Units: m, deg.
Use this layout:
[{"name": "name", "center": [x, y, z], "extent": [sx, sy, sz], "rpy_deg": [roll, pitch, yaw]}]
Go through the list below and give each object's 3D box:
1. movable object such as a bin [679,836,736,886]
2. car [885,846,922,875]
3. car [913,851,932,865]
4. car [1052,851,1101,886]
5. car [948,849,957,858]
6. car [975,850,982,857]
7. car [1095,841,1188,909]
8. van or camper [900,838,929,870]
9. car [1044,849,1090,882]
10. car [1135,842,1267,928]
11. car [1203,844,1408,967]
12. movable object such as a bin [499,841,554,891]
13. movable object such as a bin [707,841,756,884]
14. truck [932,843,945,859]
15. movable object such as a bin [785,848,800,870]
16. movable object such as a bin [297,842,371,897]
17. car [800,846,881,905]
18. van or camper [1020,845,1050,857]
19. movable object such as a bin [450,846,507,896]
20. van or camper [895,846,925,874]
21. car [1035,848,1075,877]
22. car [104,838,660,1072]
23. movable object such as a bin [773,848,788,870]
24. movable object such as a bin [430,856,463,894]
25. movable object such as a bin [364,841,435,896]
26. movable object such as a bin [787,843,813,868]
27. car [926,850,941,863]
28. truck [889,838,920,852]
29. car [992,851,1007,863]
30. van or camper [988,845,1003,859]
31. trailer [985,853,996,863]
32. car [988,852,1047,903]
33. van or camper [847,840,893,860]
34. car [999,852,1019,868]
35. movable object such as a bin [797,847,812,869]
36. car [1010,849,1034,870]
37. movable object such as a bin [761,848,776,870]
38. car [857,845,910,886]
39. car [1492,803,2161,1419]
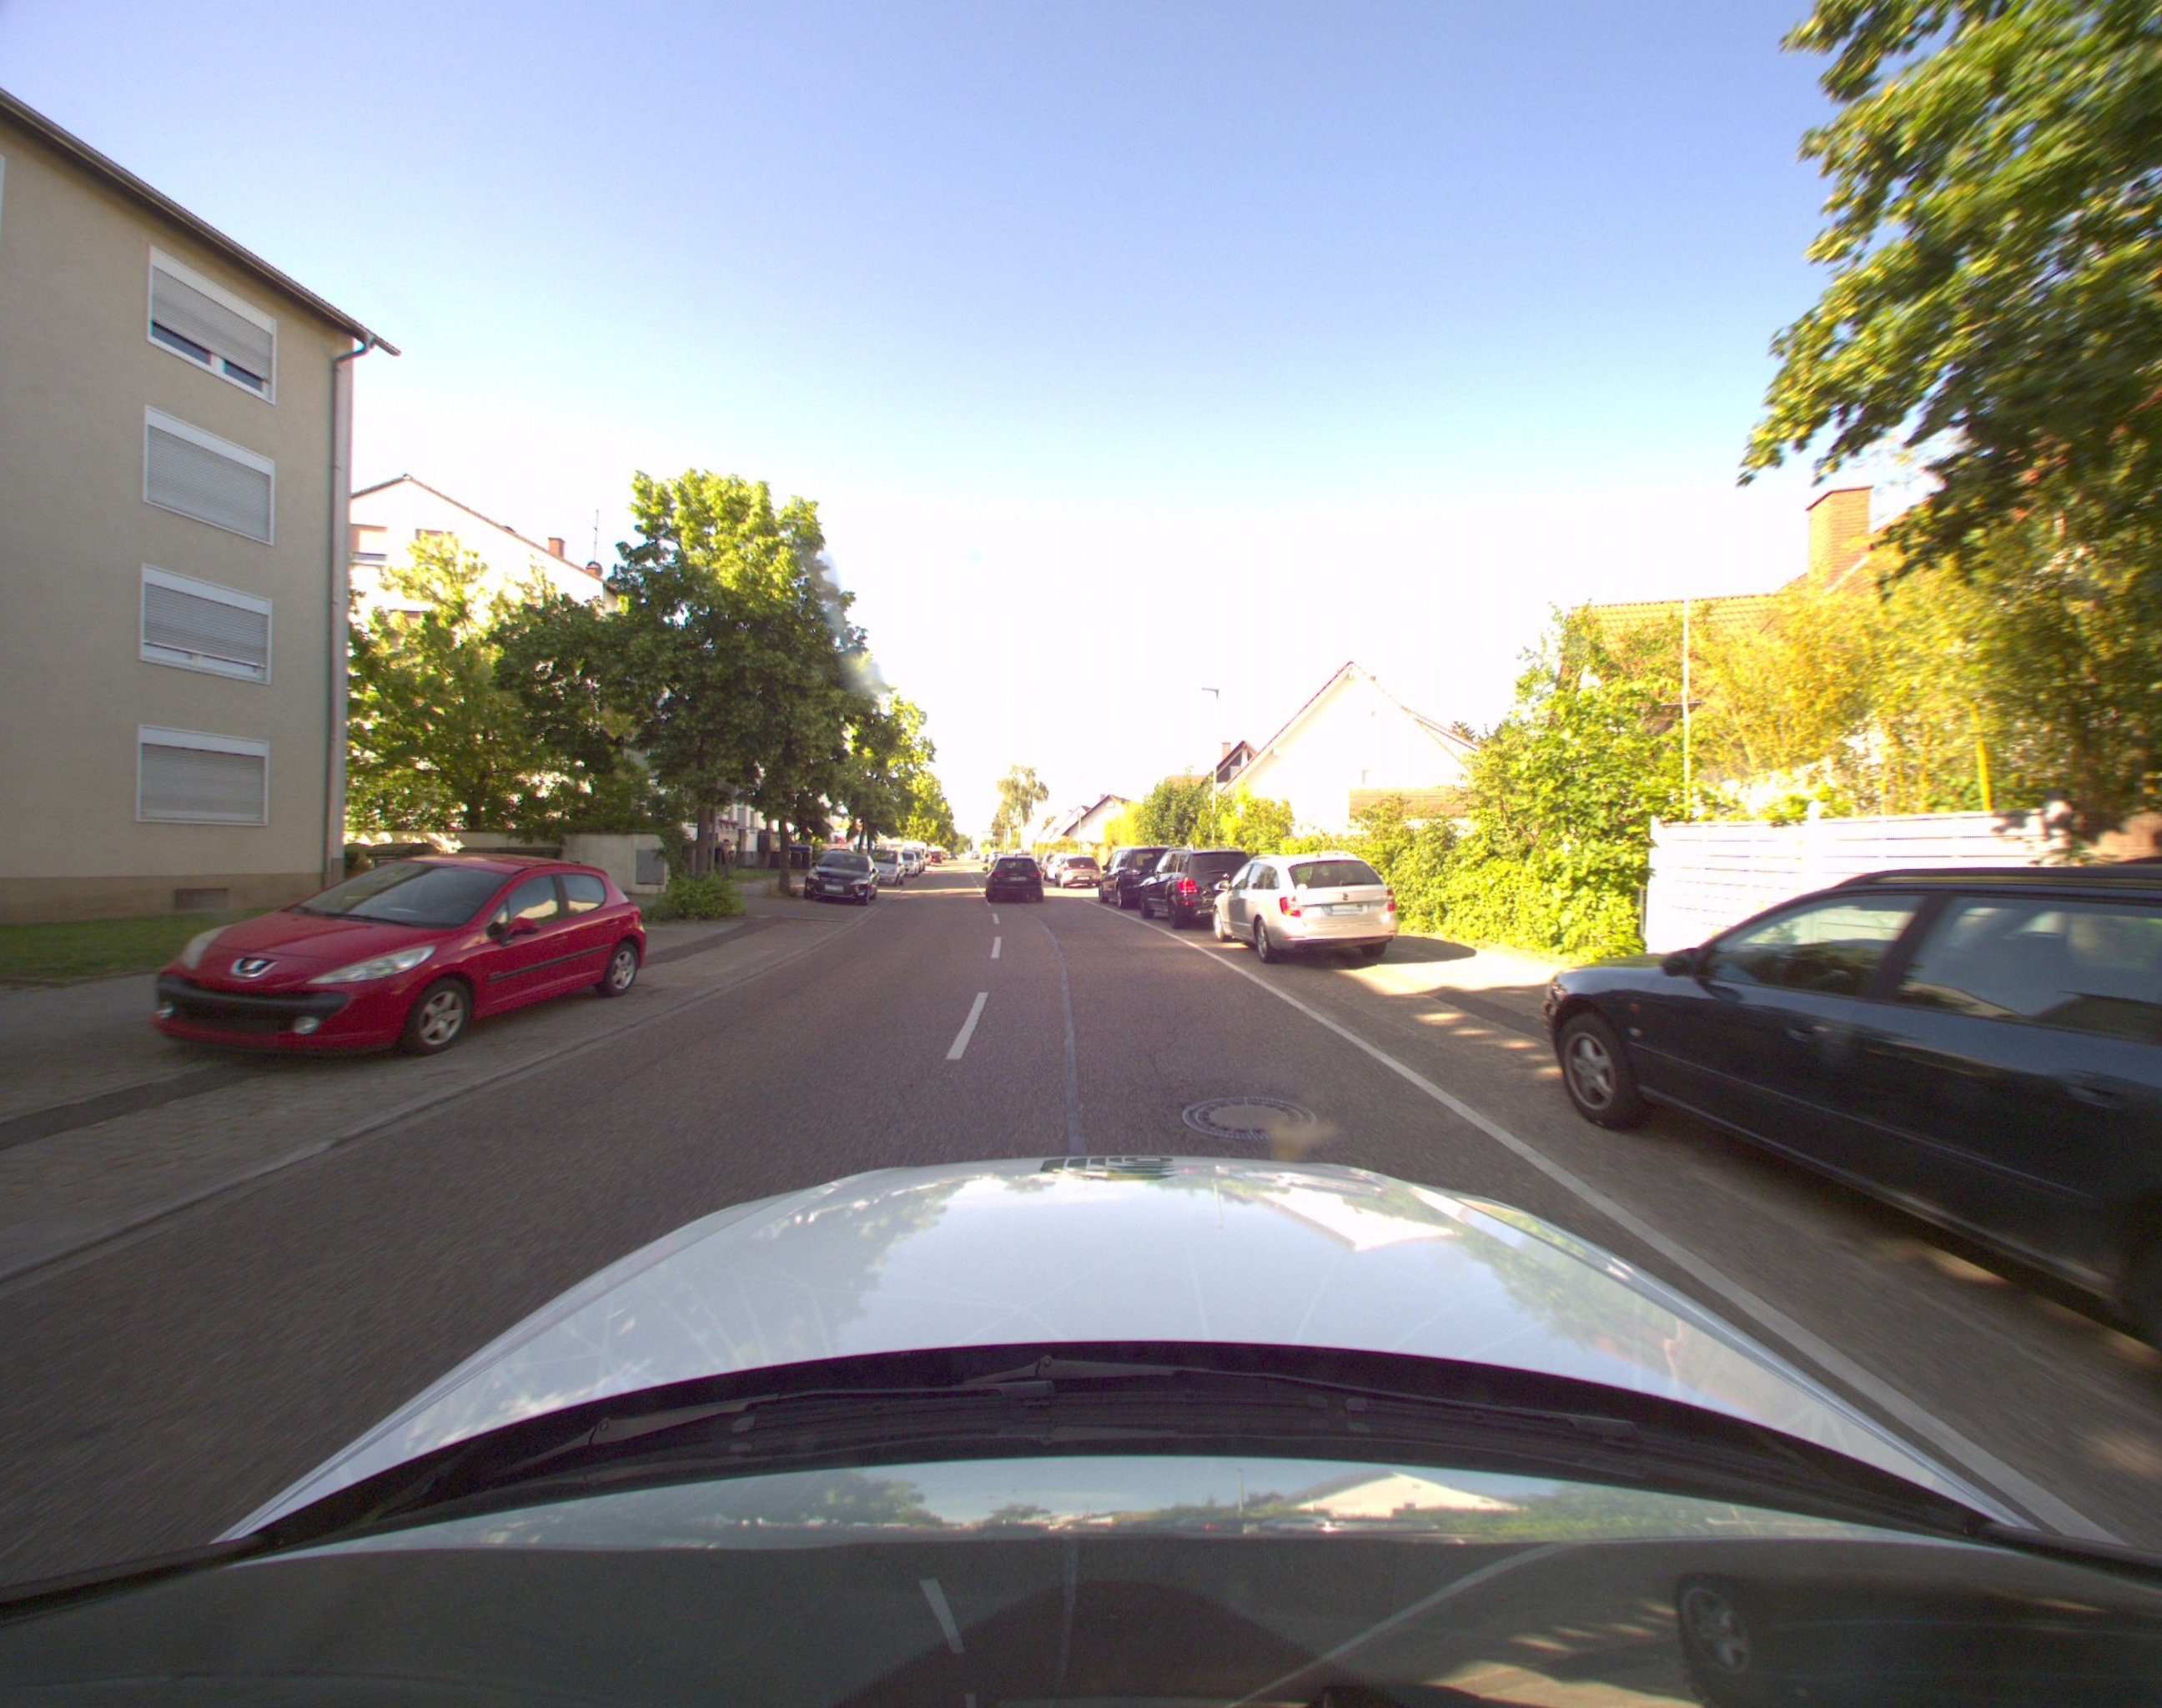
[{"name": "movable object such as a bin", "center": [-12.738, 0.243, 27.839], "extent": [1.411, 1.662, 1.264], "rpy_deg": [1, 0, -7]}, {"name": "car", "center": [-10.771, 0.378, 49.619], "extent": [1.691, 1.566, 3.898], "rpy_deg": [4, 0, -6]}, {"name": "car", "center": [-17.496, 0.406, 90.081], "extent": [1.685, 1.435, 4.199], "rpy_deg": [3, 0, -7]}, {"name": "car", "center": [-0.263, 0.613, 37.044], "extent": [1.642, 1.494, 3.876], "rpy_deg": [1, 0, -10]}, {"name": "car", "center": [-29.435, -0.146, 186.261], "extent": [1.893, 2.031, 4.804], "rpy_deg": [-1, 0, -8]}, {"name": "car", "center": [-29.340, -0.107, 233.165], "extent": [1.918, 1.825, 4.067], "rpy_deg": [1, 0, -9]}, {"name": "car", "center": [1.675, 0.569, 24.205], "extent": [1.743, 1.813, 4.415], "rpy_deg": [1, 0, -10]}, {"name": "van or camper", "center": [-14.128, -0.021, 69.377], "extent": [2.122, 2.490, 5.537], "rpy_deg": [3, 0, -9]}, {"name": "car", "center": [-0.802, 0.578, 43.289], "extent": [1.725, 1.601, 3.800], "rpy_deg": [2, 0, -12]}, {"name": "car", "center": [2.501, 0.600, 18.129], "extent": [1.762, 1.676, 4.382], "rpy_deg": [1, 0, -8]}, {"name": "car", "center": [3.234, 0.662, 12.775], "extent": [1.758, 1.563, 4.657], "rpy_deg": [1, 0, -3]}, {"name": "movable object such as a bin", "center": [-15.252, 0.315, 22.409], "extent": [1.086, 1.316, 0.567], "rpy_deg": [1, 3, -1]}, {"name": "movable object such as a bin", "center": [-12.890, 0.299, 30.093], "extent": [1.289, 1.543, 1.324], "rpy_deg": [1, 0, -7]}, {"name": "truck", "center": [-28.702, -0.597, 163.720], "extent": [2.403, 2.983, 7.221], "rpy_deg": [3, -1, -10]}, {"name": "movable object such as a bin", "center": [-16.881, 0.276, 47.636], "extent": [0.638, 1.279, 0.670], "rpy_deg": [1, 0, -6]}, {"name": "movable object such as a bin", "center": [-20.674, 0.419, 22.571], "extent": [1.117, 1.432, 0.938], "rpy_deg": [1, 3, -1]}, {"name": "car", "center": [-7.224, 0.592, 24.908], "extent": [1.722, 1.494, 4.528], "rpy_deg": [6, -1, -10]}, {"name": "van or camper", "center": [-9.486, -0.605, 168.018], "extent": [5.858, 2.541, 2.265], "rpy_deg": [1, 0, -36]}, {"name": "movable object such as a bin", "center": [-16.616, 0.459, 22.481], "extent": [1.117, 1.316, 0.567], "rpy_deg": [1, 3, -1]}, {"name": "van or camper", "center": [-13.076, 0.420, 62.448], "extent": [1.877, 2.013, 4.267], "rpy_deg": [2, 0, -8]}, {"name": "car", "center": [-1.567, 0.461, 47.832], "extent": [1.658, 1.601, 3.800], "rpy_deg": [2, 0, -12]}, {"name": "car", "center": [-5.816, 0.693, 7.557], "extent": [1.652, 1.494, 3.908], "rpy_deg": [4, 0, 0]}, {"name": "movable object such as a bin", "center": [-17.548, 0.276, 47.561], "extent": [0.638, 1.279, 0.670], "rpy_deg": [1, 0, -6]}, {"name": "movable object such as a bin", "center": [-17.617, 0.569, 22.621], "extent": [0.506, 1.014, 0.485], "rpy_deg": [1, 3, -1]}, {"name": "movable object such as a bin", "center": [-18.858, 0.382, 22.563], "extent": [1.117, 1.432, 0.955], "rpy_deg": [1, 3, -1]}, {"name": "movable object such as a bin", "center": [-17.488, 0.091, 50.708], "extent": [1.230, 1.482, 1.113], "rpy_deg": [1, 0, -6]}, {"name": "car", "center": [-21.169, 0.322, 116.812], "extent": [1.803, 1.752, 4.329], "rpy_deg": [3, -1, -8]}, {"name": "truck", "center": [-36.643, -1.852, 169.236], "extent": [5.898, 2.567, 2.225], "rpy_deg": [2, 0, 2]}, {"name": "car", "center": [-10.282, 0.361, 102.476], "extent": [1.718, 1.505, 3.553], "rpy_deg": [2, 0, -8]}, {"name": "van or camper", "center": [-11.377, -0.260, 108.109], "extent": [1.718, 1.891, 4.167], "rpy_deg": [2, 0, -8]}, {"name": "trailer", "center": [-14.491, 0.564, 130.104], "extent": [1.626, 1.538, 3.189], "rpy_deg": [1, 0, -8]}, {"name": "car", "center": [-2.141, 0.698, 26.489], "extent": [1.710, 1.532, 3.678], "rpy_deg": [1, 0, -8]}, {"name": "van or camper", "center": [-25.545, -0.444, 98.773], "extent": [4.871, 2.320, 2.246], "rpy_deg": [1, -1, 3]}, {"name": "car", "center": [-7.878, 0.616, 88.817], "extent": [1.776, 1.659, 3.802], "rpy_deg": [2, 0, -10]}, {"name": "movable object such as a bin", "center": [-16.197, 0.212, 47.715], "extent": [0.686, 1.279, 0.670], "rpy_deg": [1, 0, -6]}, {"name": "car", "center": [-5.044, 0.473, 69.744], "extent": [1.774, 1.659, 4.292], "rpy_deg": [2, 0, -7]}, {"name": "movable object such as a bin", "center": [-18.220, 0.276, 47.496], "extent": [0.638, 1.279, 0.670], "rpy_deg": [1, 0, -6]}, {"name": "car", "center": [-9.029, 0.518, 37.513], "extent": [1.720, 1.593, 3.899], "rpy_deg": [6, -1, -6]}, {"name": "car", "center": [3.581, 0.656, 3.261], "extent": [1.648, 1.563, 4.464], "rpy_deg": [1, 0, 0]}]
